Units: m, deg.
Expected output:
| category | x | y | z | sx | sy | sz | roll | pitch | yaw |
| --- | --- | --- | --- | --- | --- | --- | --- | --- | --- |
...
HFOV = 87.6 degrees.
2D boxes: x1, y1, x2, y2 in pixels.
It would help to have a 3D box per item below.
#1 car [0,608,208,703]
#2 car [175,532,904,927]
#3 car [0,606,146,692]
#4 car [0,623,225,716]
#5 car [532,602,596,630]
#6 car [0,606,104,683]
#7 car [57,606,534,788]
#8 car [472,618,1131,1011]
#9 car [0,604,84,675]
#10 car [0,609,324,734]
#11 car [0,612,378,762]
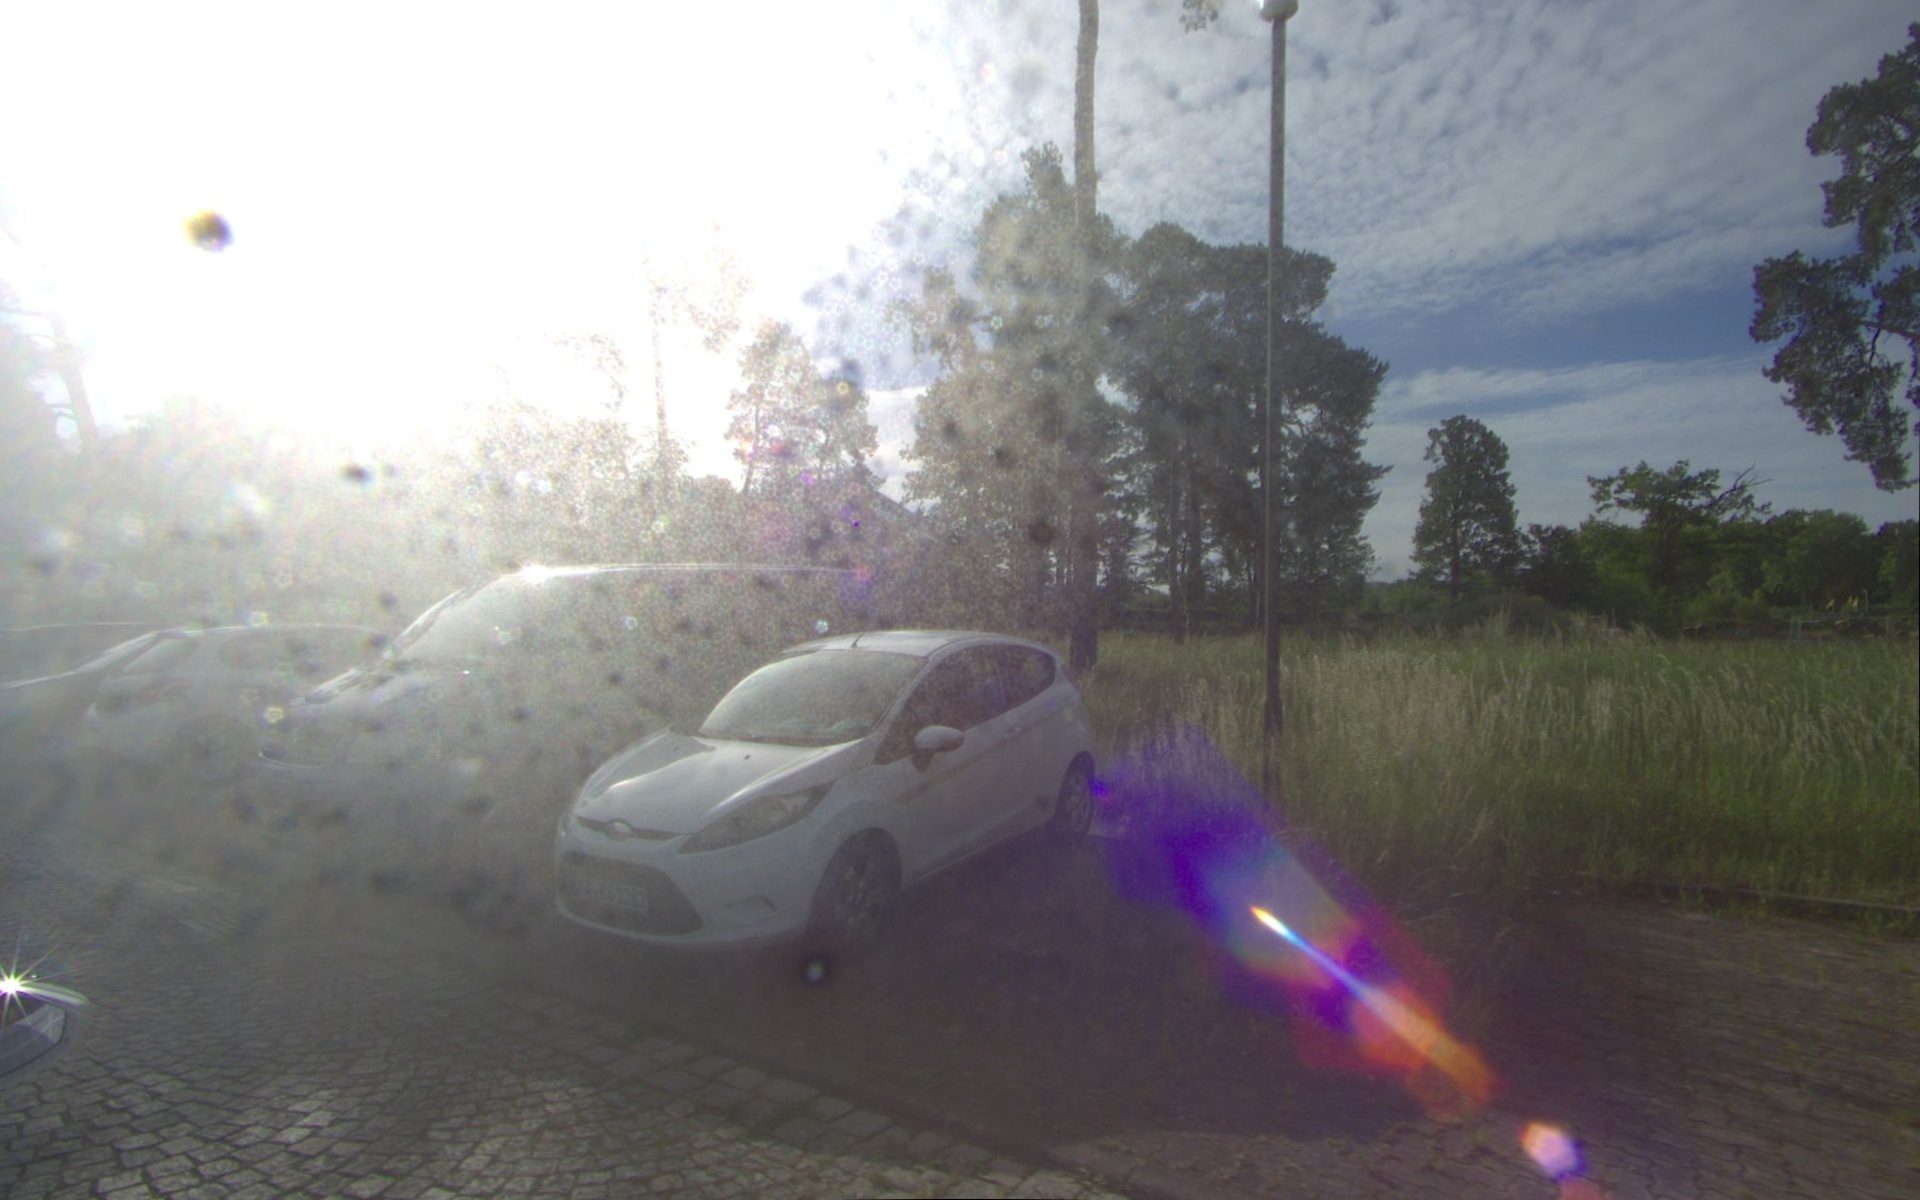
| category | x | y | z | sx | sy | sz | roll | pitch | yaw |
| --- | --- | --- | --- | --- | --- | --- | --- | --- | --- |
| car | -15.520 | 0.889 | 16.813 | 1.715 | 1.493 | 4.331 | -1 | -1 | 33 |
| car | -2.602 | 0.624 | 7.468 | 1.964 | 1.954 | 4.721 | 0 | 1 | 33 |
| car | -17.563 | 0.859 | 17.778 | 1.824 | 1.493 | 4.497 | -1 | -1 | 33 |
| car | -13.788 | 1.003 | 15.178 | 1.703 | 1.277 | 3.941 | -1 | -1 | 34 |
| car | -36.930 | 1.518 | 93.478 | 2.234 | 2.568 | 5.145 | 0 | -1 | 35 |
| car | -19.778 | 0.869 | 19.397 | 1.866 | 1.493 | 4.502 | -1 | -1 | 29 |
| car | -6.817 | 0.858 | 10.669 | 1.783 | 1.550 | 3.865 | -1 | -1 | 34 |
| car | -0.518 | 0.873 | 6.133 | 1.780 | 1.489 | 4.185 | -1 | -1 | 30 |
| car | -21.735 | 0.841 | 21.134 | 1.905 | 1.525 | 4.536 | -1 | -1 | 31 |
| car | -11.442 | 0.887 | 14.011 | 1.747 | 1.515 | 3.941 | -1 | -1 | 34 |
| car | -9.399 | 0.898 | 11.869 | 1.805 | 1.486 | 3.941 | -1 | -1 | 34 |
